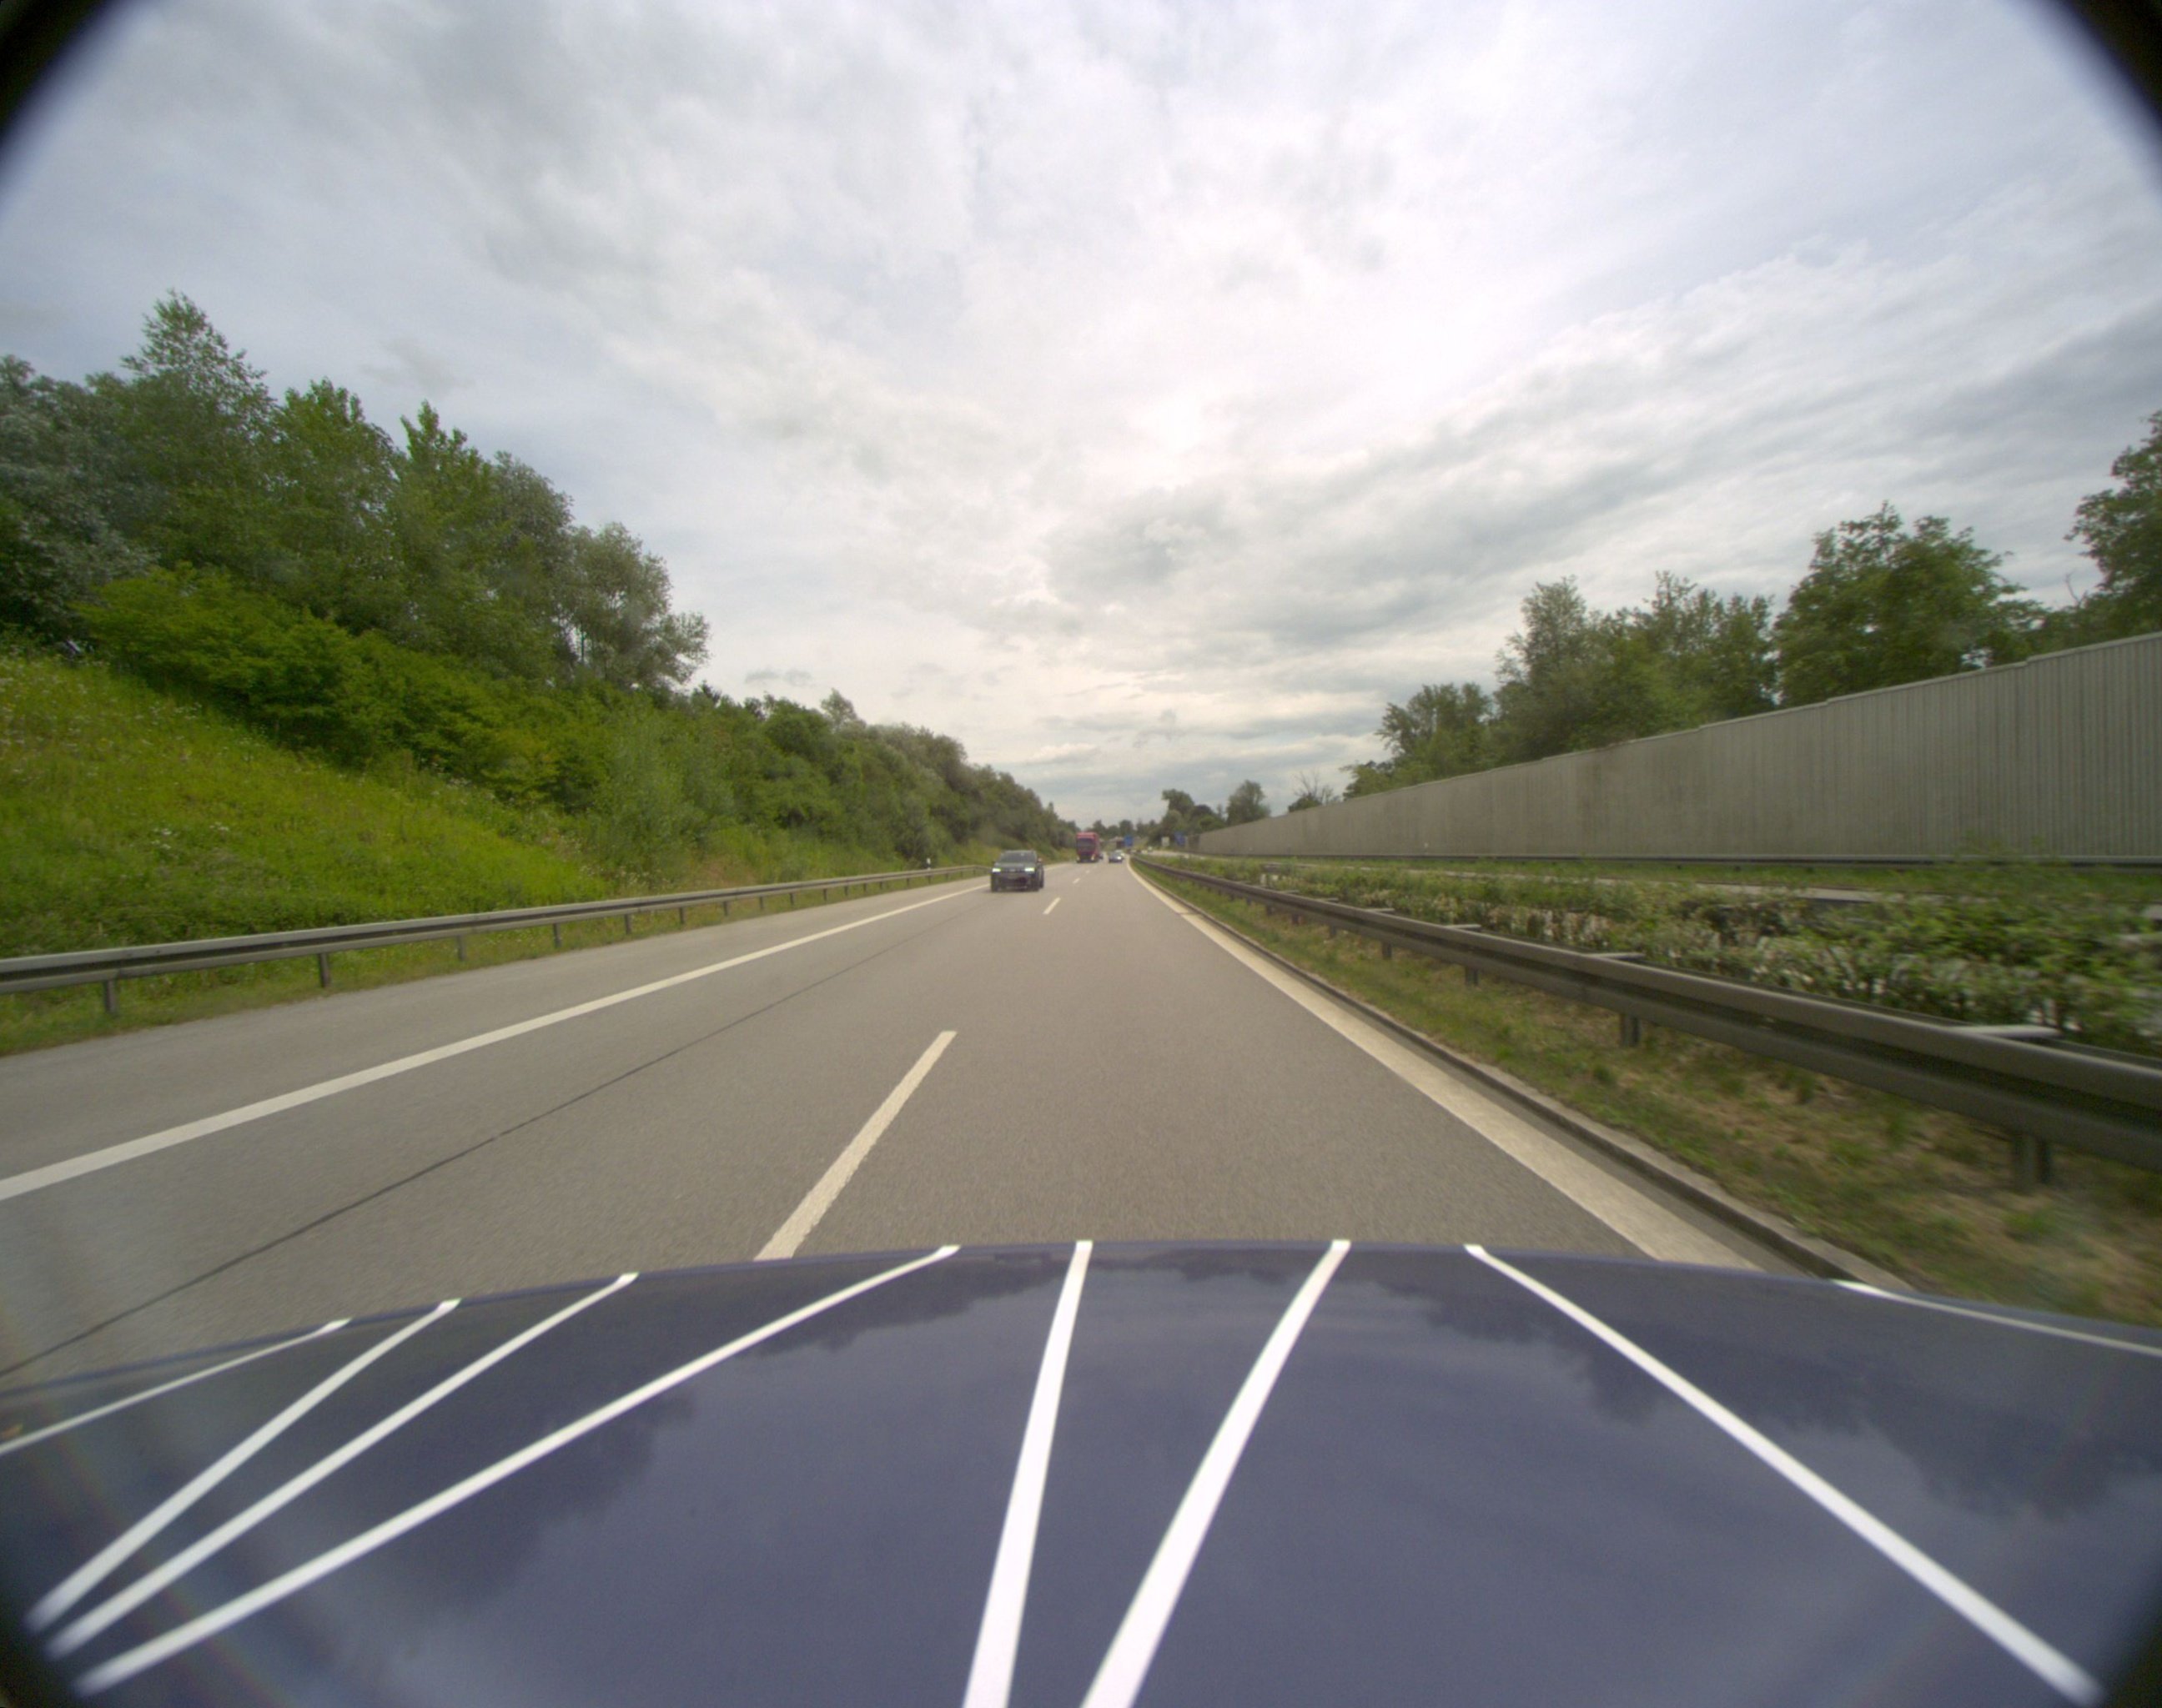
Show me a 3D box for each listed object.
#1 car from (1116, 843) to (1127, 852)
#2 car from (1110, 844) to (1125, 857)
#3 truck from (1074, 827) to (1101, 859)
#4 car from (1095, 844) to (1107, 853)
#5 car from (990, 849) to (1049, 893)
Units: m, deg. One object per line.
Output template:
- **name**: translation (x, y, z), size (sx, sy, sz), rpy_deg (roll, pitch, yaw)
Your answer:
- **car**: translation (7.191, -1.193, 134.218), size (1.889, 1.608, 4.001), rpy_deg (-1, 1, 4)
- **car**: translation (4.792, -0.425, 99.119), size (1.889, 1.608, 4.000), rpy_deg (-1, 1, 3)
- **truck**: translation (1.025, -1.495, 104.217), size (2.933, 4.069, 11.344), rpy_deg (-2, 1, 4)
- **car**: translation (3.625, -1.007, 138.256), size (1.889, 1.608, 4.001), rpy_deg (-1, 1, 4)
- **car**: translation (-2.404, 0.615, 30.424), size (1.889, 1.608, 4.000), rpy_deg (-1, 1, 2)
